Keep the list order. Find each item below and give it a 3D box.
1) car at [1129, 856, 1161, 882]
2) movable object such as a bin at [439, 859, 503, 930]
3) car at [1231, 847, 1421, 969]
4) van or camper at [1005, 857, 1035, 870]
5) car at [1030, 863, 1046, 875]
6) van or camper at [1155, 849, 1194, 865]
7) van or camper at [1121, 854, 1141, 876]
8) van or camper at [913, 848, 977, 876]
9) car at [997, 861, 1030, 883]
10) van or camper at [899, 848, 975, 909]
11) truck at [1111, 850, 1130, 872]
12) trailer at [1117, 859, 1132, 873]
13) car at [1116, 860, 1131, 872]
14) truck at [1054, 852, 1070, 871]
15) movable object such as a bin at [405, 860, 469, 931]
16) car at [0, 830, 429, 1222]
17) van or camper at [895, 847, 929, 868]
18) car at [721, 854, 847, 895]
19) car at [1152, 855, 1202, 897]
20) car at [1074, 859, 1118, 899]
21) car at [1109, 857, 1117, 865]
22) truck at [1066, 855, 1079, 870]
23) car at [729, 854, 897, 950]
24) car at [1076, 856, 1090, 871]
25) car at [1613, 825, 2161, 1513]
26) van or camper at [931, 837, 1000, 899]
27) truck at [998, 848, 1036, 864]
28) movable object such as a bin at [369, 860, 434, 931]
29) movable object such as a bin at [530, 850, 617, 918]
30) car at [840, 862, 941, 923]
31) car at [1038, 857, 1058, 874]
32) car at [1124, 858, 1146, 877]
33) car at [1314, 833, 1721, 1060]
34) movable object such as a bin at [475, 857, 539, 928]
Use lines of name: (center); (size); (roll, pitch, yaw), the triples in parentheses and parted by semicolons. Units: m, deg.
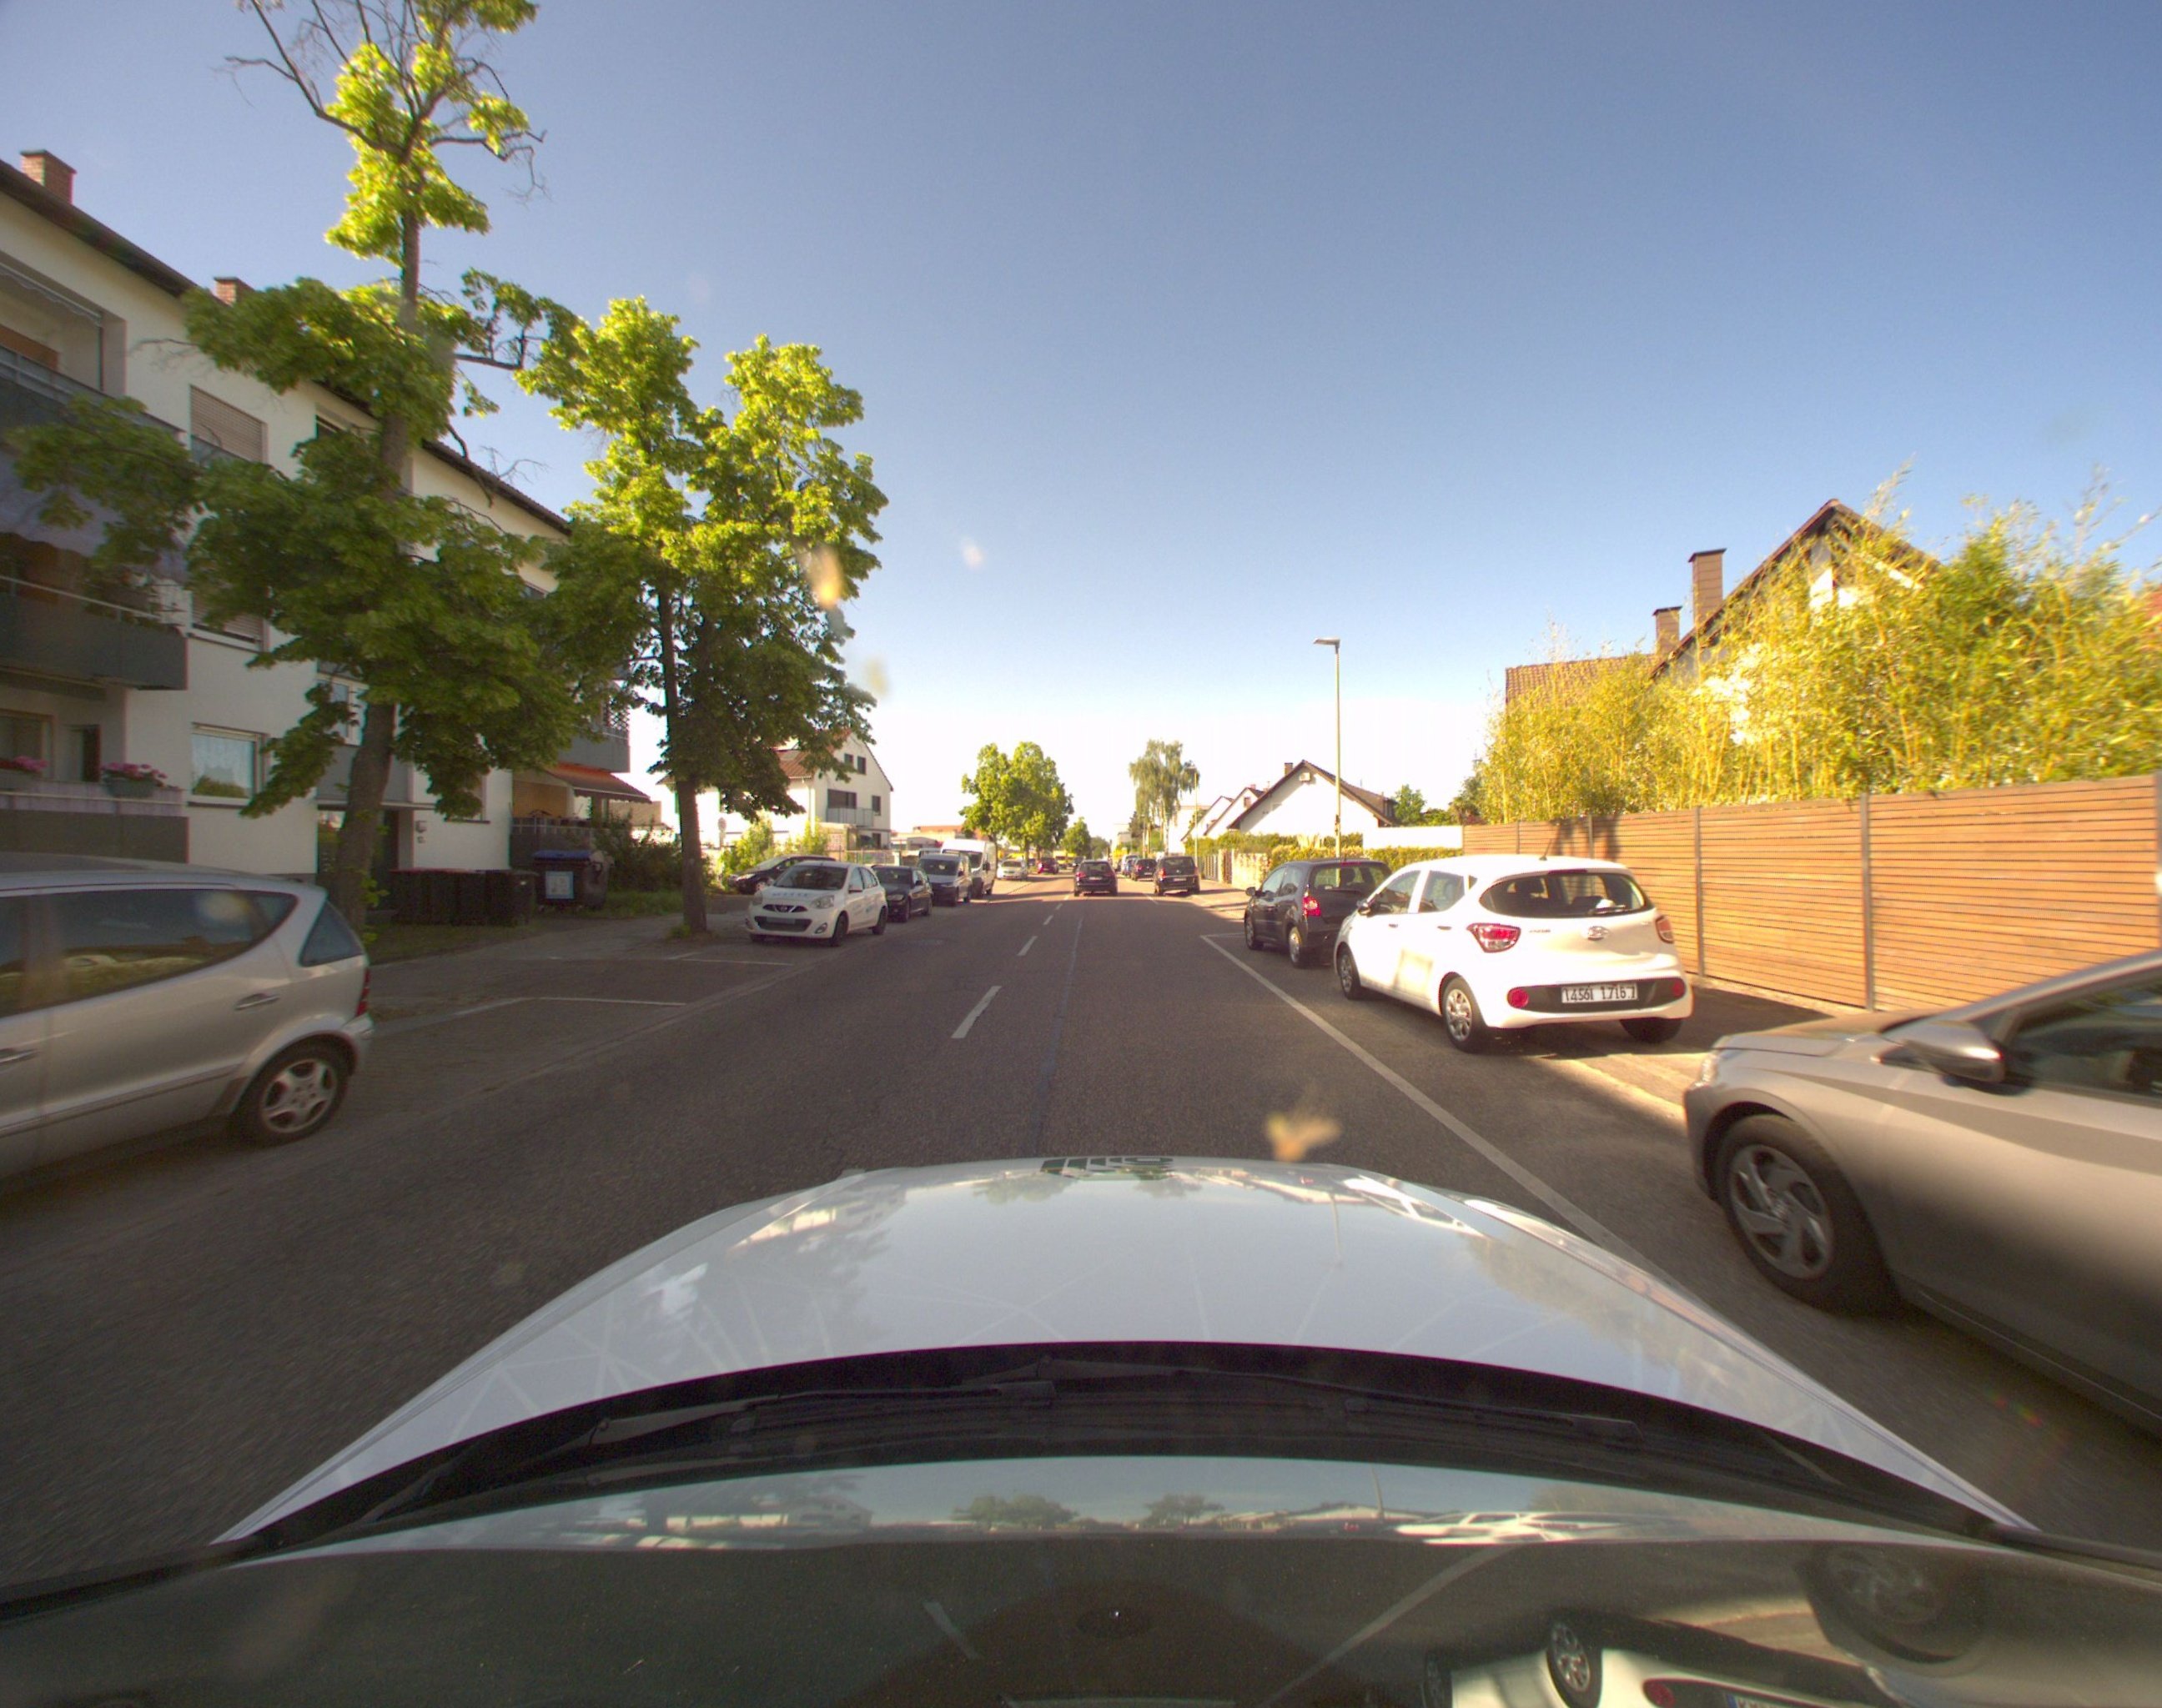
car: (4.206, 0.959, 53.906); (1.770, 1.659, 3.815); (0, 0, -1)
movable object such as a bin: (-11.254, 0.729, 15.041); (0.636, 1.279, 0.672); (-1, -1, 4)
car: (3.569, 0.715, 12.587); (1.652, 1.601, 3.812); (0, 0, -2)
van or camper: (-10.142, 1.577, 135.233); (4.518, 2.014, 2.255); (-1, -1, 7)
car: (-5.646, 2.007, 107.912); (1.855, 1.590, 4.275); (-1, -2, 0)
van or camper: (15.135, 0.494, 131.911); (5.842, 2.541, 2.271); (-1, -1, -26)
van or camper: (4.501, 0.997, 73.871); (1.712, 1.891, 4.181); (0, -1, 2)
van or camper: (-11.542, 0.669, 69.389); (4.858, 2.320, 2.252); (0, -1, 13)
car: (-4.676, 1.208, 56.959); (1.680, 1.435, 4.212); (2, 0, 3)
van or camper: (-5.069, 0.825, 29.232); (1.871, 2.014, 4.281); (0, 0, 2)
truck: (5.757, 1.039, 120.187); (2.394, 2.937, 7.017); (-3, -1, 1)
trailer: (5.107, 1.427, 96.046); (1.621, 1.538, 3.200); (-1, 0, 2)
car: (5.314, 1.462, 101.208); (1.666, 1.542, 4.048); (0, 0, 5)
truck: (-3.023, 1.225, 130.348); (2.395, 2.983, 7.244); (1, -1, 0)
movable object such as a bin: (-11.932, 0.749, 15.101); (0.636, 1.279, 0.672); (-1, -1, 4)
car: (-5.420, 0.715, 3.551); (1.714, 1.593, 3.912); (5, 0, 3)
van or camper: (-22.406, 0.499, 108.357); (2.150, 2.715, 6.289); (-1, -1, 12)
car: (-11.536, 0.752, 31.852); (1.594, 1.514, 4.415); (-1, -1, 41)
car: (3.993, 0.891, 34.470); (1.769, 1.659, 4.306); (0, 0, 2)
car: (0.664, 0.992, 33.762); (1.705, 1.532, 3.689); (-1, 0, 2)
car: (7.797, 1.748, 200.289); (1.912, 1.825, 4.080); (-1, -1, 1)
truck: (-1.637, 1.722, 161.936); (2.394, 2.983, 6.375); (1, -1, 2)
car: (-5.029, 0.821, 15.872); (1.685, 1.566, 3.910); (2, 0, 4)
car: (0.263, 1.416, 121.963); (1.887, 2.031, 4.819); (-2, -1, 1)
car: (3.149, 0.668, 1.706); (1.635, 1.494, 3.892); (-1, 0, 2)
van or camper: (-4.978, 0.577, 35.847); (2.115, 2.490, 5.555); (1, 0, 1)
truck: (-10.895, 0.361, 138.490); (5.881, 2.568, 2.231); (1, 0, 12)
movable object such as a bin: (-12.622, 0.755, 15.138); (0.636, 1.279, 0.672); (-1, -1, 4)
movable object such as a bin: (-11.373, 0.659, 18.289); (1.226, 1.482, 1.117); (-1, 0, 3)
car: (-5.078, 0.970, 22.268); (1.603, 1.435, 4.314); (1, 0, 1)
car: (-3.368, 1.178, 84.056); (1.797, 1.752, 4.343); (1, -1, 1)
car: (4.492, 1.111, 67.928); (1.712, 1.505, 3.564); (0, -1, 1)
car: (3.672, 0.663, 7.725); (1.720, 1.601, 3.812); (0, 0, -2)
movable object such as a bin: (-10.575, 0.700, 15.023); (0.684, 1.279, 0.672); (-1, -1, 4)
